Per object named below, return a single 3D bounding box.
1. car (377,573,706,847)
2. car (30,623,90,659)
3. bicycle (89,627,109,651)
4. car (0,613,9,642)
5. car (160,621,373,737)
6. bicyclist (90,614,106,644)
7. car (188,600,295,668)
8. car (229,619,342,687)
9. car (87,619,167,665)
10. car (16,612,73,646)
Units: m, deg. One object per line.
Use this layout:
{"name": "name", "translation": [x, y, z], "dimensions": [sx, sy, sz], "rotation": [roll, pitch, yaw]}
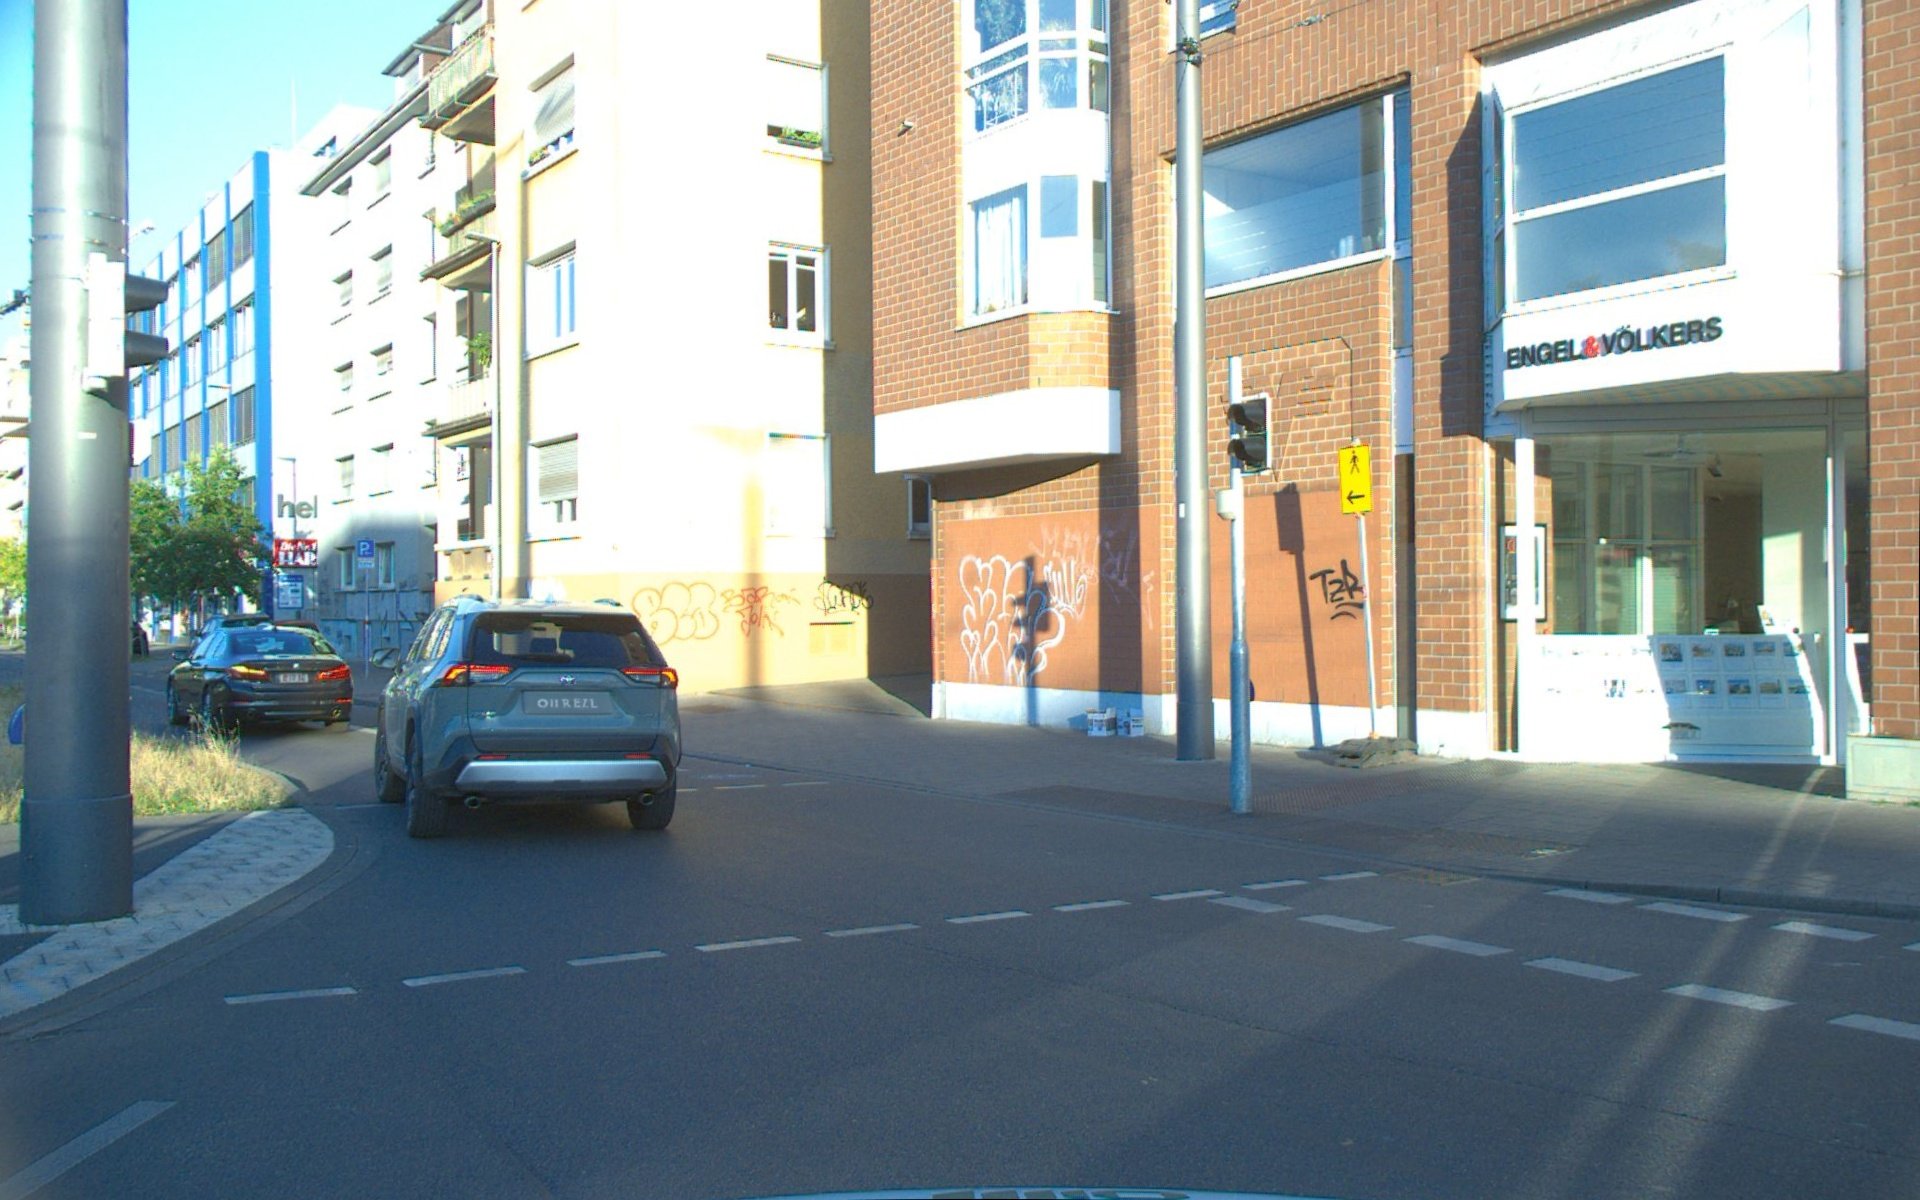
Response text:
{"name": "car", "translation": [-3.397, 0.766, 12.836], "dimensions": [1.833, 1.744, 4.161], "rotation": [1, -2, -23]}
{"name": "car", "translation": [-38.414, 1.734, 70.555], "dimensions": [1.671, 1.480, 4.074], "rotation": [0, 0, -37]}
{"name": "bicycle", "translation": [-43.635, 1.962, 83.807], "dimensions": [0.550, 1.149, 1.947], "rotation": [-4, 1, -37]}
{"name": "car", "translation": [-60.555, 1.723, 102.922], "dimensions": [1.841, 1.736, 4.197], "rotation": [-1, 0, -37]}
{"name": "car", "translation": [-9.947, 1.079, 23.562], "dimensions": [1.844, 1.488, 4.137], "rotation": [2, -2, -37]}
{"name": "bicyclist", "translation": [-43.718, 1.481, 83.868], "dimensions": [0.554, 1.501, 0.614], "rotation": [-4, 1, -38]}
{"name": "car", "translation": [-19.492, 0.898, 44.754], "dimensions": [1.743, 1.683, 4.471], "rotation": [-2, 0, -35]}
{"name": "car", "translation": [-16.534, 1.269, 40.473], "dimensions": [1.658, 1.544, 3.552], "rotation": [-1, 0, -38]}
{"name": "car", "translation": [-30.843, 1.531, 61.159], "dimensions": [1.806, 1.594, 4.746], "rotation": [-1, 0, -37]}
{"name": "car", "translation": [-43.842, 1.392, 79.155], "dimensions": [1.806, 1.480, 4.073], "rotation": [-2, 0, -37]}
